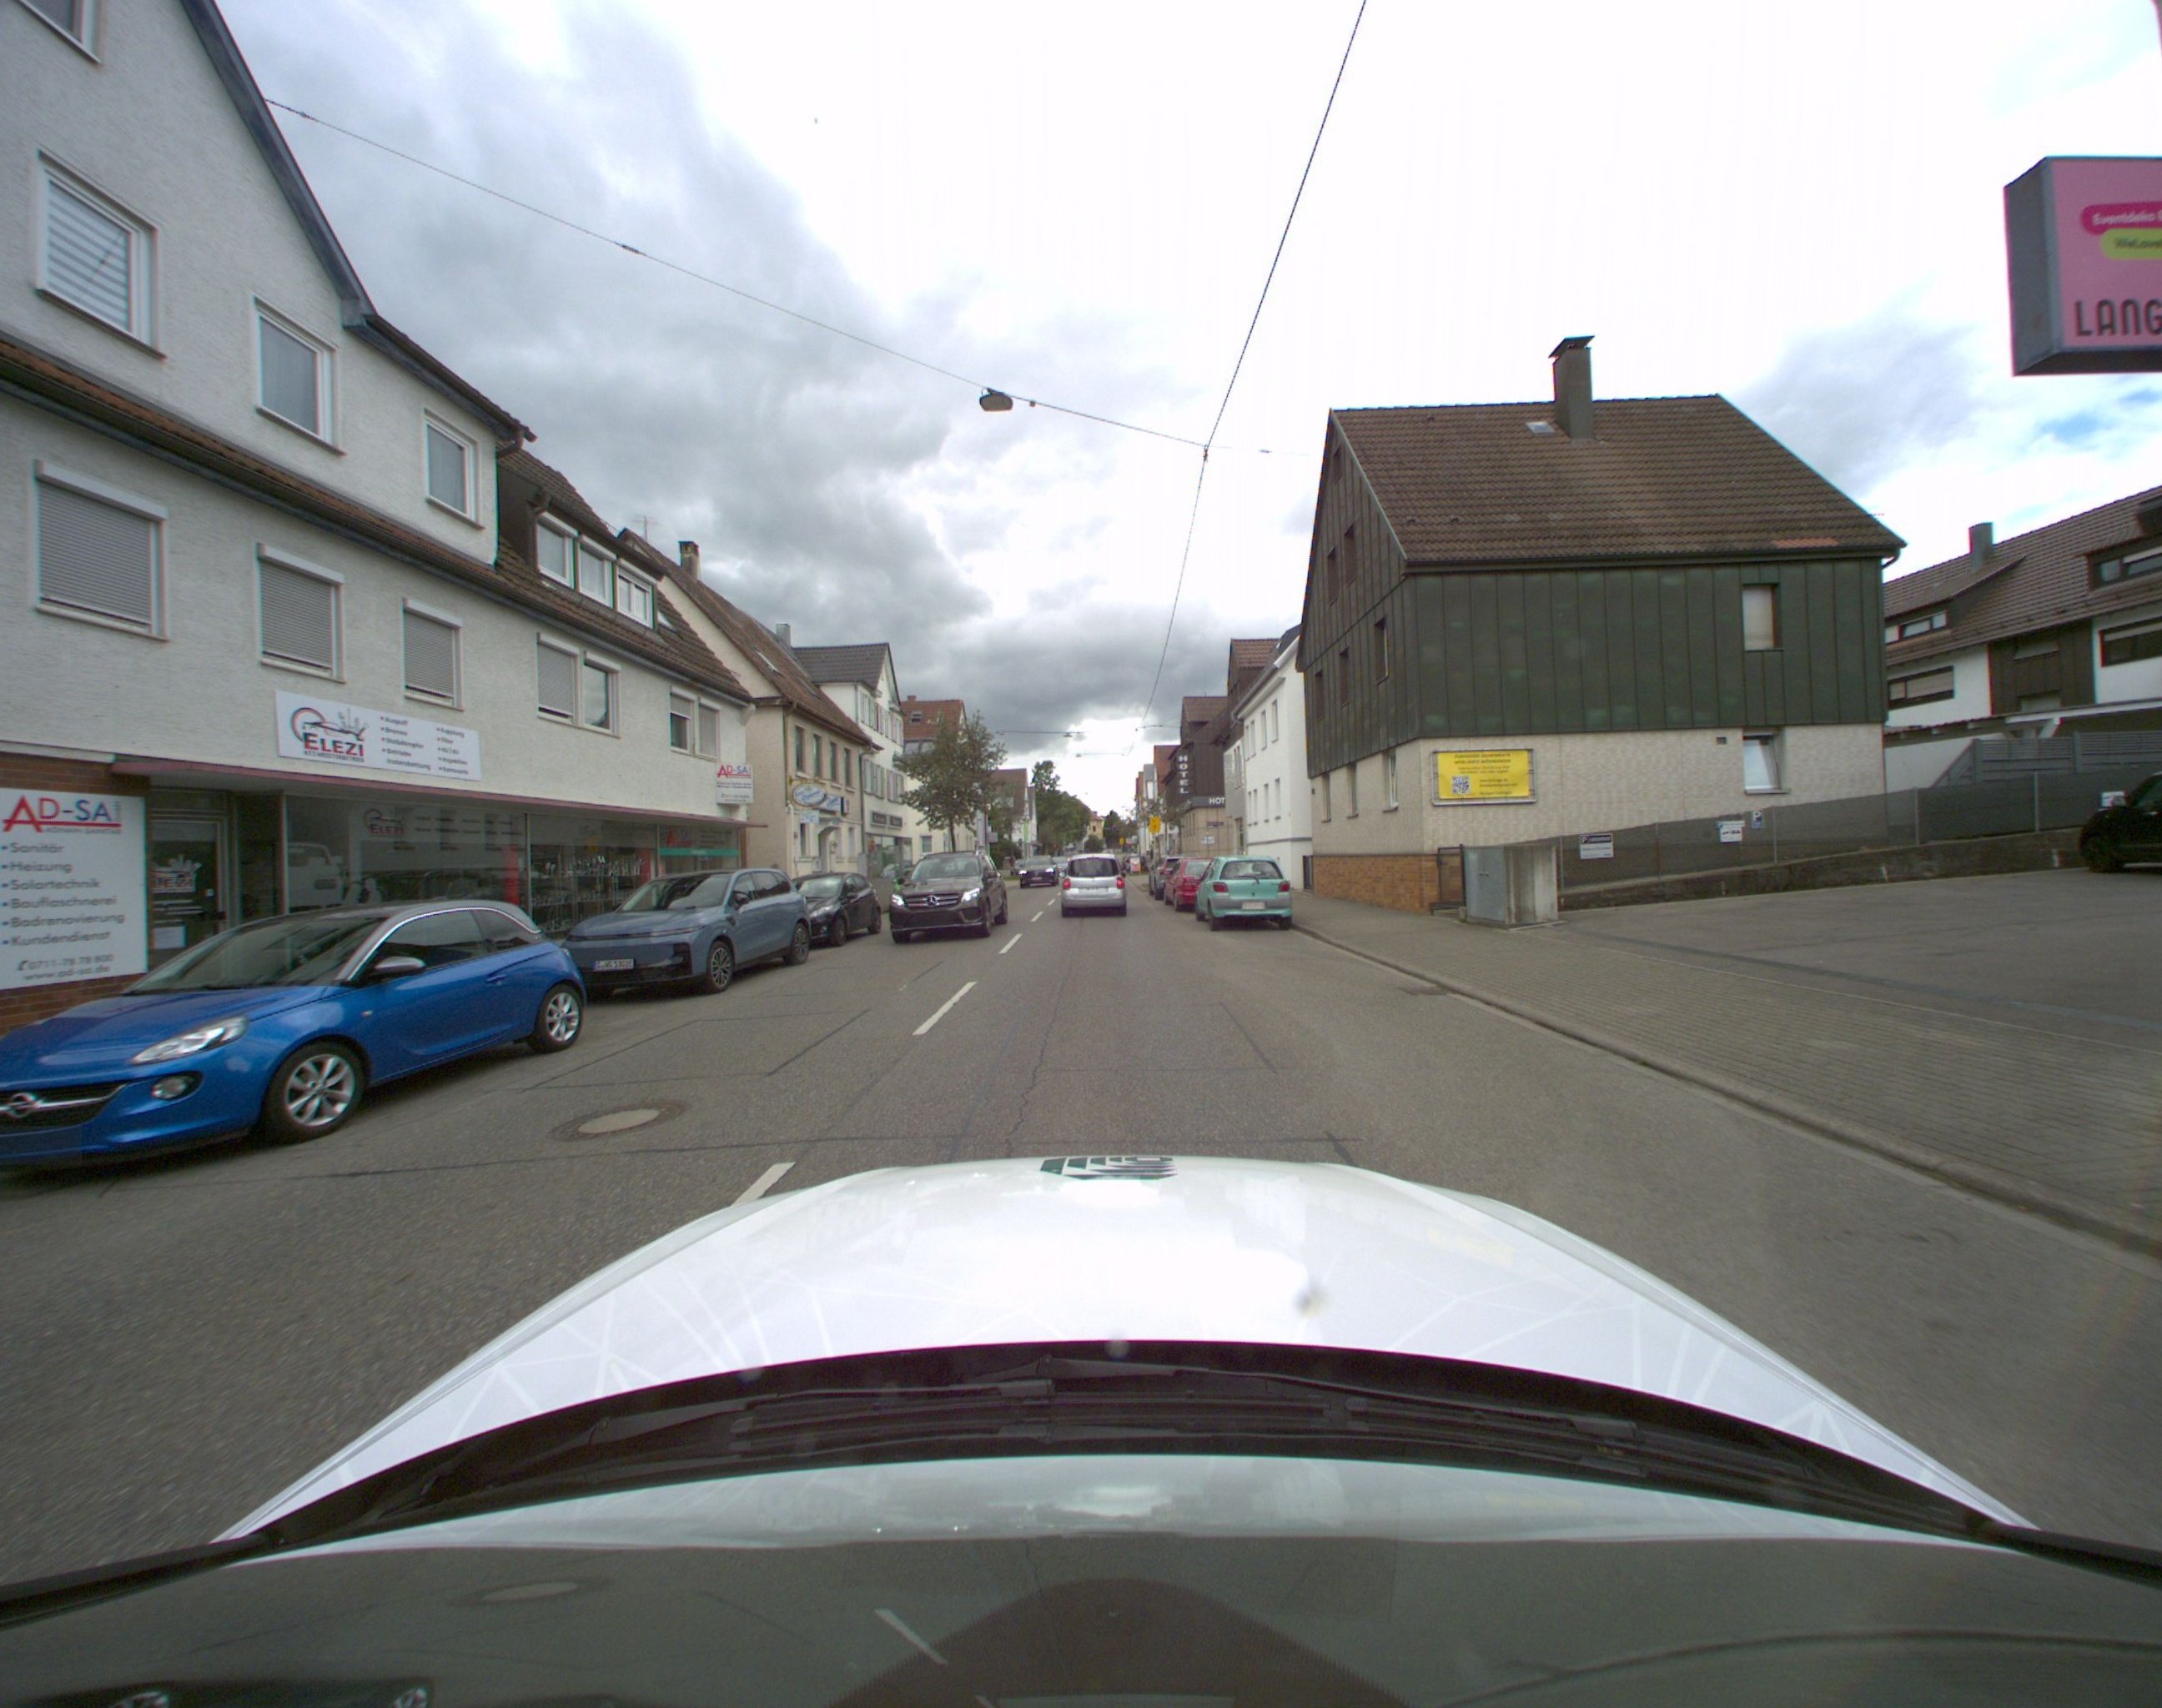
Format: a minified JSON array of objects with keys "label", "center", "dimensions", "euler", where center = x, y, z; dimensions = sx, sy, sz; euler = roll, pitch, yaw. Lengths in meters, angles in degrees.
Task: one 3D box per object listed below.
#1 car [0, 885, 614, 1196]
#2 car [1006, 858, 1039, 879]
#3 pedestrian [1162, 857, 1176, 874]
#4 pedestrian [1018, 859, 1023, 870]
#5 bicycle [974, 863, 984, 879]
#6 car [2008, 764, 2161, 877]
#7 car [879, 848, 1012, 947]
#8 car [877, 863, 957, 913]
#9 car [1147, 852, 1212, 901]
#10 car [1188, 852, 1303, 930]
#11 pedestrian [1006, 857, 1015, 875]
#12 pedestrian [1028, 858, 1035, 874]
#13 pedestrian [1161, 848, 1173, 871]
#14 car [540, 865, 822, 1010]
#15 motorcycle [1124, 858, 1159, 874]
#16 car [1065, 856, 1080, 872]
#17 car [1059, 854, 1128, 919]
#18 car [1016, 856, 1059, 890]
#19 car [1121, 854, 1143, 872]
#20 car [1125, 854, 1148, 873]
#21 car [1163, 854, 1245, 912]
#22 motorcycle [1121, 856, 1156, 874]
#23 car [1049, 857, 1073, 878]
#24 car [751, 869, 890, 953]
[{"label":"car","center":[-5.638,1.102,6.312],"dimensions":[1.676,1.499,3.776],"euler":[-3,0,2]},{"label":"car","center":[-4.491,1.107,62.948],"dimensions":[1.941,1.467,4.517],"euler":[-4,0,2]},{"label":"pedestrian","center":[7.290,0.951,67.491],"dimensions":[0.884,1.300,0.967],"euler":[-6,-1,1]},{"label":"pedestrian","center":[-7.107,1.220,95.888],"dimensions":[0.490,1.278,0.588],"euler":[-1,-1,1]},{"label":"bicycle","center":[-7.456,1.254,59.566],"dimensions":[0.513,1.153,1.665],"euler":[-1,0,-1]},{"label":"car","center":[17.005,-0.571,12.465],"dimensions":[1.904,1.654,4.020],"euler":[-5,-1,20]},{"label":"car","center":[-2.738,0.827,17.525],"dimensions":[1.893,1.737,4.368],"euler":[-3,0,2]},{"label":"car","center":[-5.503,1.108,27.797],"dimensions":[1.675,1.447,4.023],"euler":[-3,0,3]},{"label":"car","center":[3.346,0.726,28.418],"dimensions":[1.869,1.539,4.514],"euler":[-1,0,2]},{"label":"car","center":[3.450,0.724,17.804],"dimensions":[1.824,1.497,3.995],"euler":[-1,0,2]},{"label":"pedestrian","center":[-6.987,1.204,81.232],"dimensions":[0.760,1.791,0.890],"euler":[-1,-1,1]},{"label":"pedestrian","center":[-5.697,1.351,93.270],"dimensions":[0.759,1.876,0.696],"euler":[-1,-1,1]},{"label":"pedestrian","center":[7.316,0.457,69.278],"dimensions":[0.854,1.928,0.900],"euler":[-1,-1,1]},{"label":"car","center":[-5.496,1.034,11.944],"dimensions":[1.796,1.599,4.306],"euler":[-3,0,2]},{"label":"motorcycle","center":[4.597,0.884,61.581],"dimensions":[2.745,1.183,0.693],"euler":[-1,-1,-29]},{"label":"car","center":[-1.127,1.308,109.373],"dimensions":[1.945,2.014,4.001],"euler":[-1,0,1]},{"label":"car","center":[0.369,0.801,21.901],"dimensions":[1.676,1.566,3.995],"euler":[-1,0,2]},{"label":"car","center":[-2.213,0.951,42.343],"dimensions":[1.788,1.578,4.193],"euler":[-4,0,1]},{"label":"car","center":[4.366,0.756,70.593],"dimensions":[1.695,1.467,4.239],"euler":[-1,0,1]},{"label":"car","center":[4.449,0.737,65.779],"dimensions":[1.695,1.430,3.891],"euler":[-1,0,1]},{"label":"car","center":[3.311,0.732,22.709],"dimensions":[1.748,1.446,4.456],"euler":[-1,0,2]},{"label":"motorcycle","center":[4.445,0.816,62.629],"dimensions":[2.724,1.336,0.693],"euler":[-1,-1,-29]},{"label":"car","center":[-1.516,0.990,62.012],"dimensions":[1.678,1.447,4.018],"euler":[-3,0,-1]},{"label":"car","center":[-5.363,1.114,17.256],"dimensions":[1.576,1.508,3.814],"euler":[-1,0,2]}]
